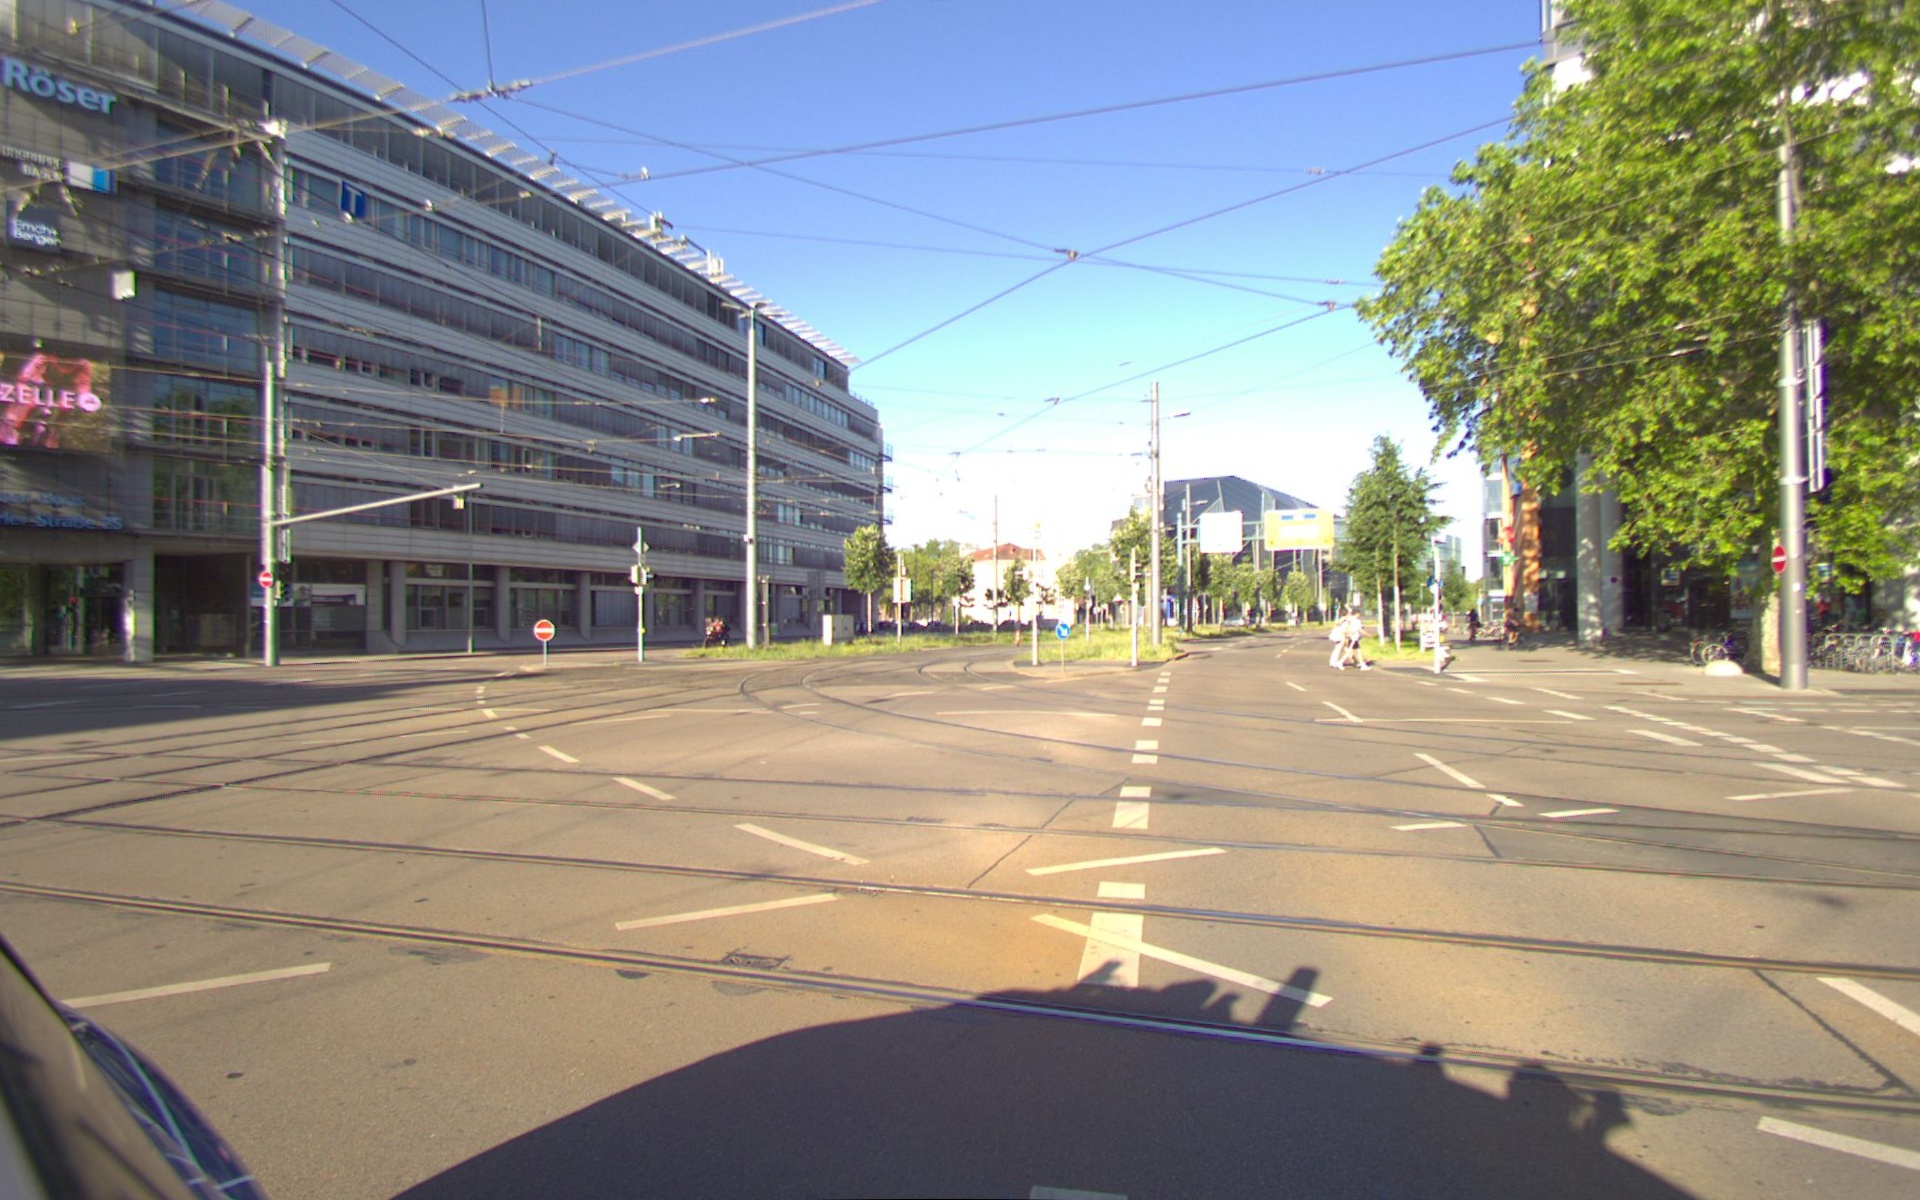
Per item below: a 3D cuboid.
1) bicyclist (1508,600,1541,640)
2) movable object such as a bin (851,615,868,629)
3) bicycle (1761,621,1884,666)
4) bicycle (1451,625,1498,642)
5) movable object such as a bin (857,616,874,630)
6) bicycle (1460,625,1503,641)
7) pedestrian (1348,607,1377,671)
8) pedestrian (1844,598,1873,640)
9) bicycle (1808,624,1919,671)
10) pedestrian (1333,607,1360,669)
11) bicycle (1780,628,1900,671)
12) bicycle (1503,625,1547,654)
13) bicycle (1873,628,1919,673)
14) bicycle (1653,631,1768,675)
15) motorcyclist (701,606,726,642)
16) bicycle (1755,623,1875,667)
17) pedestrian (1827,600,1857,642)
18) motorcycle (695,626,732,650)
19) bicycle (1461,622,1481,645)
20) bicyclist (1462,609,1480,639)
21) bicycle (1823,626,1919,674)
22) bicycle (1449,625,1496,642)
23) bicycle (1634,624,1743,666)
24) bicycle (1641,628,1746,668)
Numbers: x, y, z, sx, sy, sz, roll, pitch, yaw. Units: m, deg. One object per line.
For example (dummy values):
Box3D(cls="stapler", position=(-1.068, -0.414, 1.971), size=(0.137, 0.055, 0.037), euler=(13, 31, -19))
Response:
Box3D(cls="bicyclist", position=(22.044, 0.780, 39.528), size=(0.888, 1.560, 0.934), euler=(-1, -2, 17))
Box3D(cls="movable object such as a bin", position=(-9.500, 2.112, 95.860), size=(1.166, 1.311, 1.319), euler=(-1, -1, 23))
Box3D(cls="bicycle", position=(22.627, 1.136, 26.596), size=(2.350, 1.137, 0.594), euler=(-1, -2, 22))
Box3D(cls="bicycle", position=(34.039, 2.215, 67.004), size=(2.684, 1.112, 0.886), euler=(-1, -2, 33))
Box3D(cls="movable object such as a bin", position=(-9.052, 2.155, 96.964), size=(1.166, 1.311, 1.319), euler=(-1, -1, 23))
Box3D(cls="bicycle", position=(37.136, 2.346, 72.075), size=(2.684, 1.112, 0.886), euler=(-1, -2, 33))
Box3D(cls="pedestrian", position=(12.062, 1.172, 30.327), size=(0.728, 1.884, 0.669), euler=(-1, -1, 20))
Box3D(cls="pedestrian", position=(36.273, 0.769, 40.860), size=(0.703, 1.665, 0.691), euler=(-2, -1, 31))
Box3D(cls="bicycle", position=(22.809, 1.186, 25.312), size=(2.350, 1.137, 0.594), euler=(-1, -2, 22))
Box3D(cls="pedestrian", position=(11.930, 1.172, 31.236), size=(0.728, 1.884, 0.694), euler=(-1, -1, 21))
Box3D(cls="bicycle", position=(23.880, 1.327, 27.505), size=(2.350, 1.137, 0.594), euler=(-1, -2, 22))
Box3D(cls="bicycle", position=(22.040, 1.518, 39.507), size=(0.888, 1.112, 2.677), euler=(-1, -2, 16))
Box3D(cls="bicycle", position=(25.018, 1.293, 25.907), size=(2.350, 1.137, 0.594), euler=(-1, -2, 22))
Box3D(cls="bicycle", position=(19.804, 1.397, 26.762), size=(2.351, 1.137, 0.594), euler=(-1, -2, 23))
Box3D(cls="motorcyclist", position=(-12.914, 1.262, 52.986), size=(0.815, 1.871, 1.105), euler=(0, -1, 19))
Box3D(cls="bicycle", position=(22.929, 1.205, 27.187), size=(2.350, 1.137, 0.594), euler=(-1, -2, 22))
Box3D(cls="pedestrian", position=(35.061, 0.823, 40.217), size=(0.695, 1.665, 0.699), euler=(-1, -1, 26))
Box3D(cls="motorcycle", position=(-12.899, 1.976, 53.012), size=(0.815, 1.230, 2.241), euler=(0, -1, 19))
Box3D(cls="bicycle", position=(25.628, 1.668, 50.764), size=(0.689, 1.145, 1.838), euler=(-1, -1, 21))
Box3D(cls="bicyclist", position=(25.638, 1.200, 50.803), size=(0.689, 1.472, 0.749), euler=(-1, -1, 22))
Box3D(cls="bicycle", position=(22.216, 1.184, 24.163), size=(2.350, 1.137, 0.594), euler=(-1, -2, 22))
Box3D(cls="bicycle", position=(33.491, 2.187, 66.126), size=(2.684, 1.112, 0.886), euler=(-1, -2, 33))
Box3D(cls="bicycle", position=(20.247, 1.258, 28.174), size=(2.351, 1.137, 0.594), euler=(-1, -2, 23))
Box3D(cls="bicycle", position=(21.264, 1.389, 29.392), size=(2.351, 1.137, 0.594), euler=(-1, -2, 23))
